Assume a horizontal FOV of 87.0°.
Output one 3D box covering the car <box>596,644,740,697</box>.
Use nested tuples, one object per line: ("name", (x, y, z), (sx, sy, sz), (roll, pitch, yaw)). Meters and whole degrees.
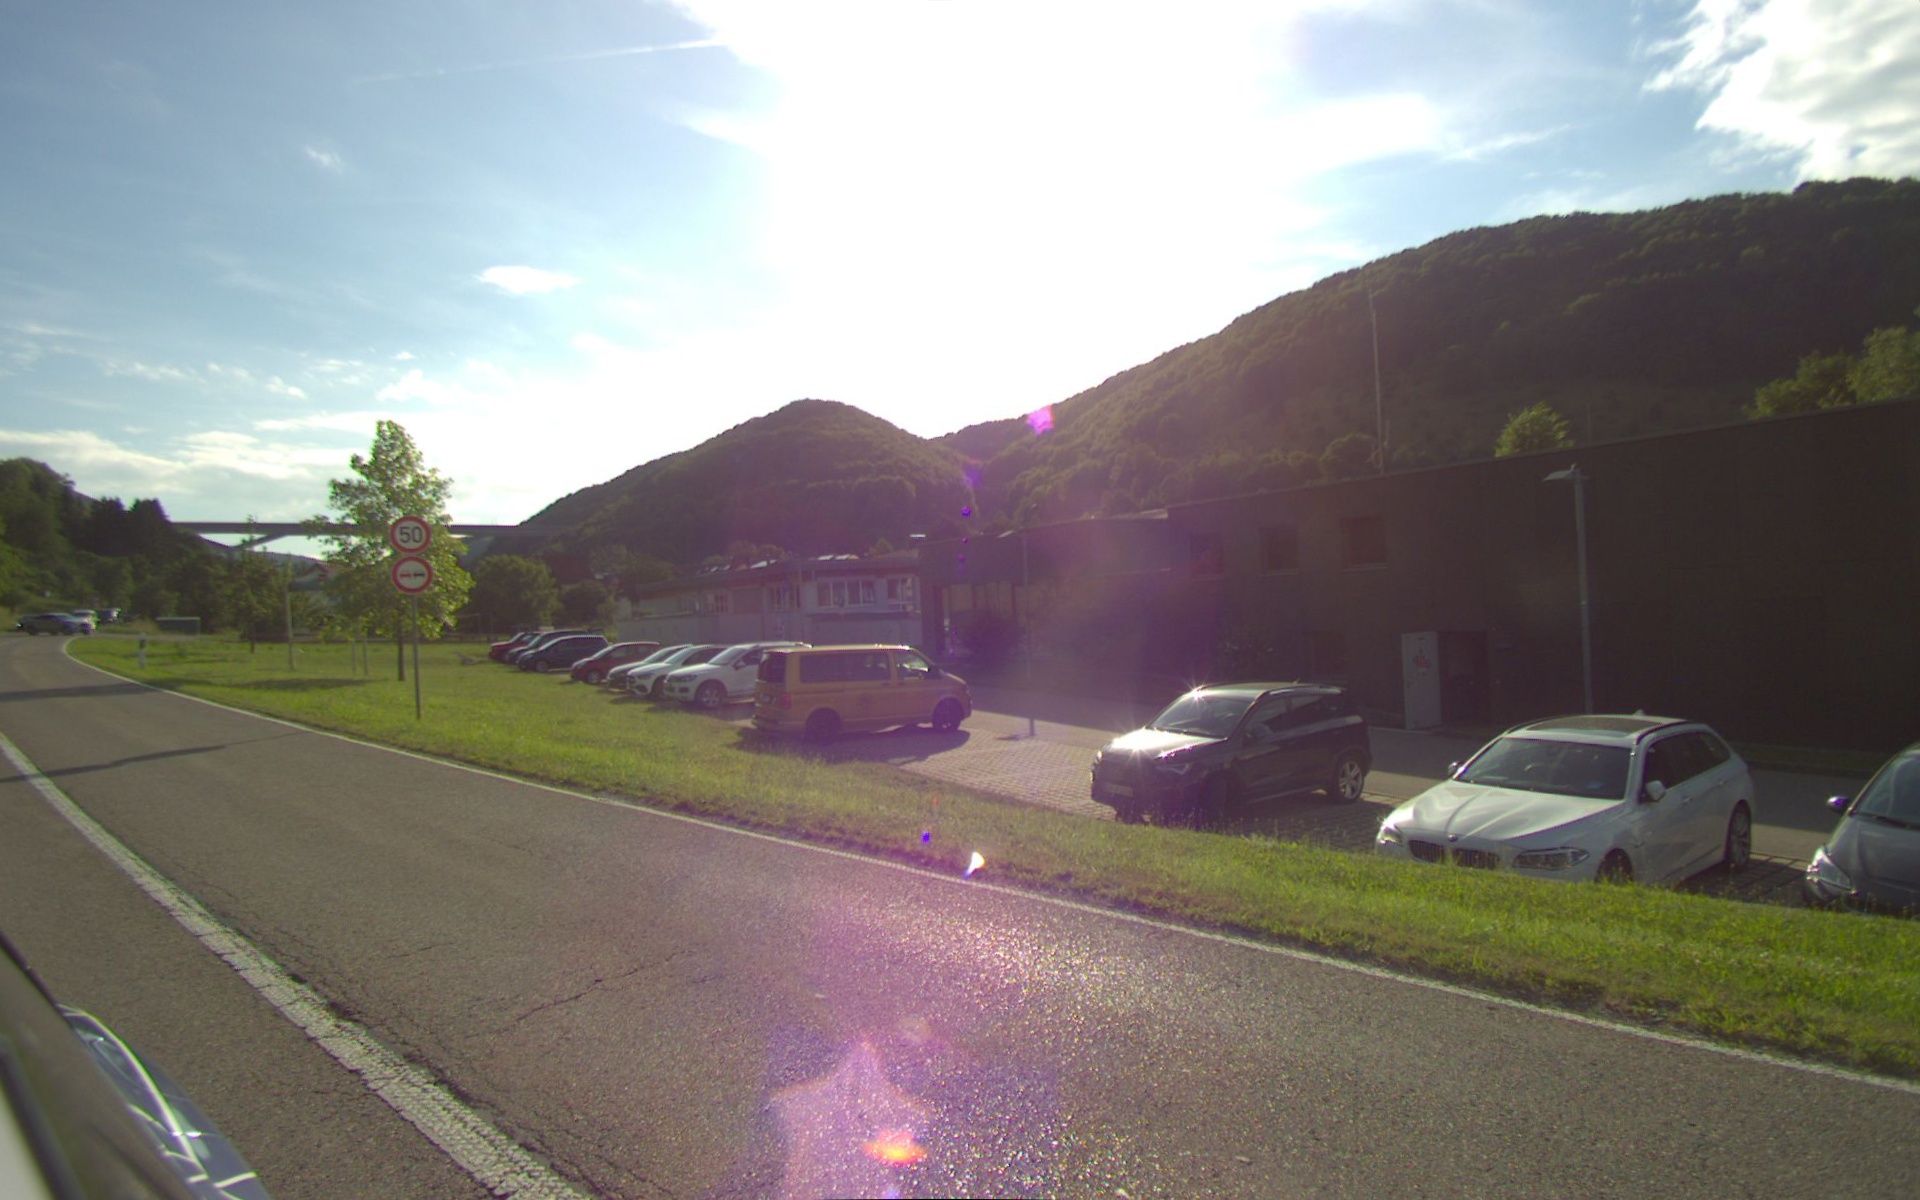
("car", (-10.014, 2.379, 34.812), (4.372, 1.595, 2.005), (0, -2, -33))

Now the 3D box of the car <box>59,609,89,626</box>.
("car", (-94.981, 1.859, 108.510), (1.770, 1.749, 4.295), (-1, -1, -32))

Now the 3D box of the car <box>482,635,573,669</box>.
("car", (-23.954, 2.847, 56.075), (4.371, 1.733, 2.006), (0, -2, -33))

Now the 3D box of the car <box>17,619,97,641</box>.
("car", (-67.620, 2.249, 75.829), (4.719, 1.539, 1.994), (-1, -1, 9))

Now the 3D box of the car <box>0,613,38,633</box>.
("car", (-81.022, 2.014, 87.104), (1.882, 1.698, 4.010), (0, -2, -35))

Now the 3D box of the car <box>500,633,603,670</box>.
("car", (-20.821, 2.592, 51.645), (4.596, 1.776, 2.006), (0, -2, -33))

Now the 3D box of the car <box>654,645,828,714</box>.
("car", (-6.251, 2.215, 29.047), (4.477, 1.714, 2.006), (0, -2, -31))

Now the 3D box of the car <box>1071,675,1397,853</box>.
("car", (3.712, 2.004, 13.449), (4.226, 1.650, 1.917), (-2, -1, -36))

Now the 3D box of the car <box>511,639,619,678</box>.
("car", (-18.491, 2.701, 47.418), (4.372, 1.595, 2.006), (-1, -1, -33))

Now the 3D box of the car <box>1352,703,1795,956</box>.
("car", (5.927, 1.910, 9.591), (4.577, 1.508, 1.917), (0, -2, -36))

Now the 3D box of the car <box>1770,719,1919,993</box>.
("car", (8.016, 1.805, 7.564), (3.932, 1.546, 1.838), (0, -2, -32))

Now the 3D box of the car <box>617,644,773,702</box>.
("car", (-8.330, 2.252, 31.879), (4.371, 1.599, 2.006), (0, -2, -31))

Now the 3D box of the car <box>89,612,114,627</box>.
("car", (-101.403, 2.325, 119.567), (1.651, 1.659, 3.356), (-1, -1, -30))

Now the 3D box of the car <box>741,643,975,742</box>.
("car", (-2.152, 1.878, 21.714), (4.583, 1.827, 2.006), (0, -2, -31))

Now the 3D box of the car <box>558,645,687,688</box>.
("car", (-12.972, 2.512, 38.902), (4.371, 1.463, 2.006), (0, -2, -31))

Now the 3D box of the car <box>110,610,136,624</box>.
("car", (-107.732, 2.241, 130.330), (1.966, 1.730, 4.012), (0, -2, -30))
